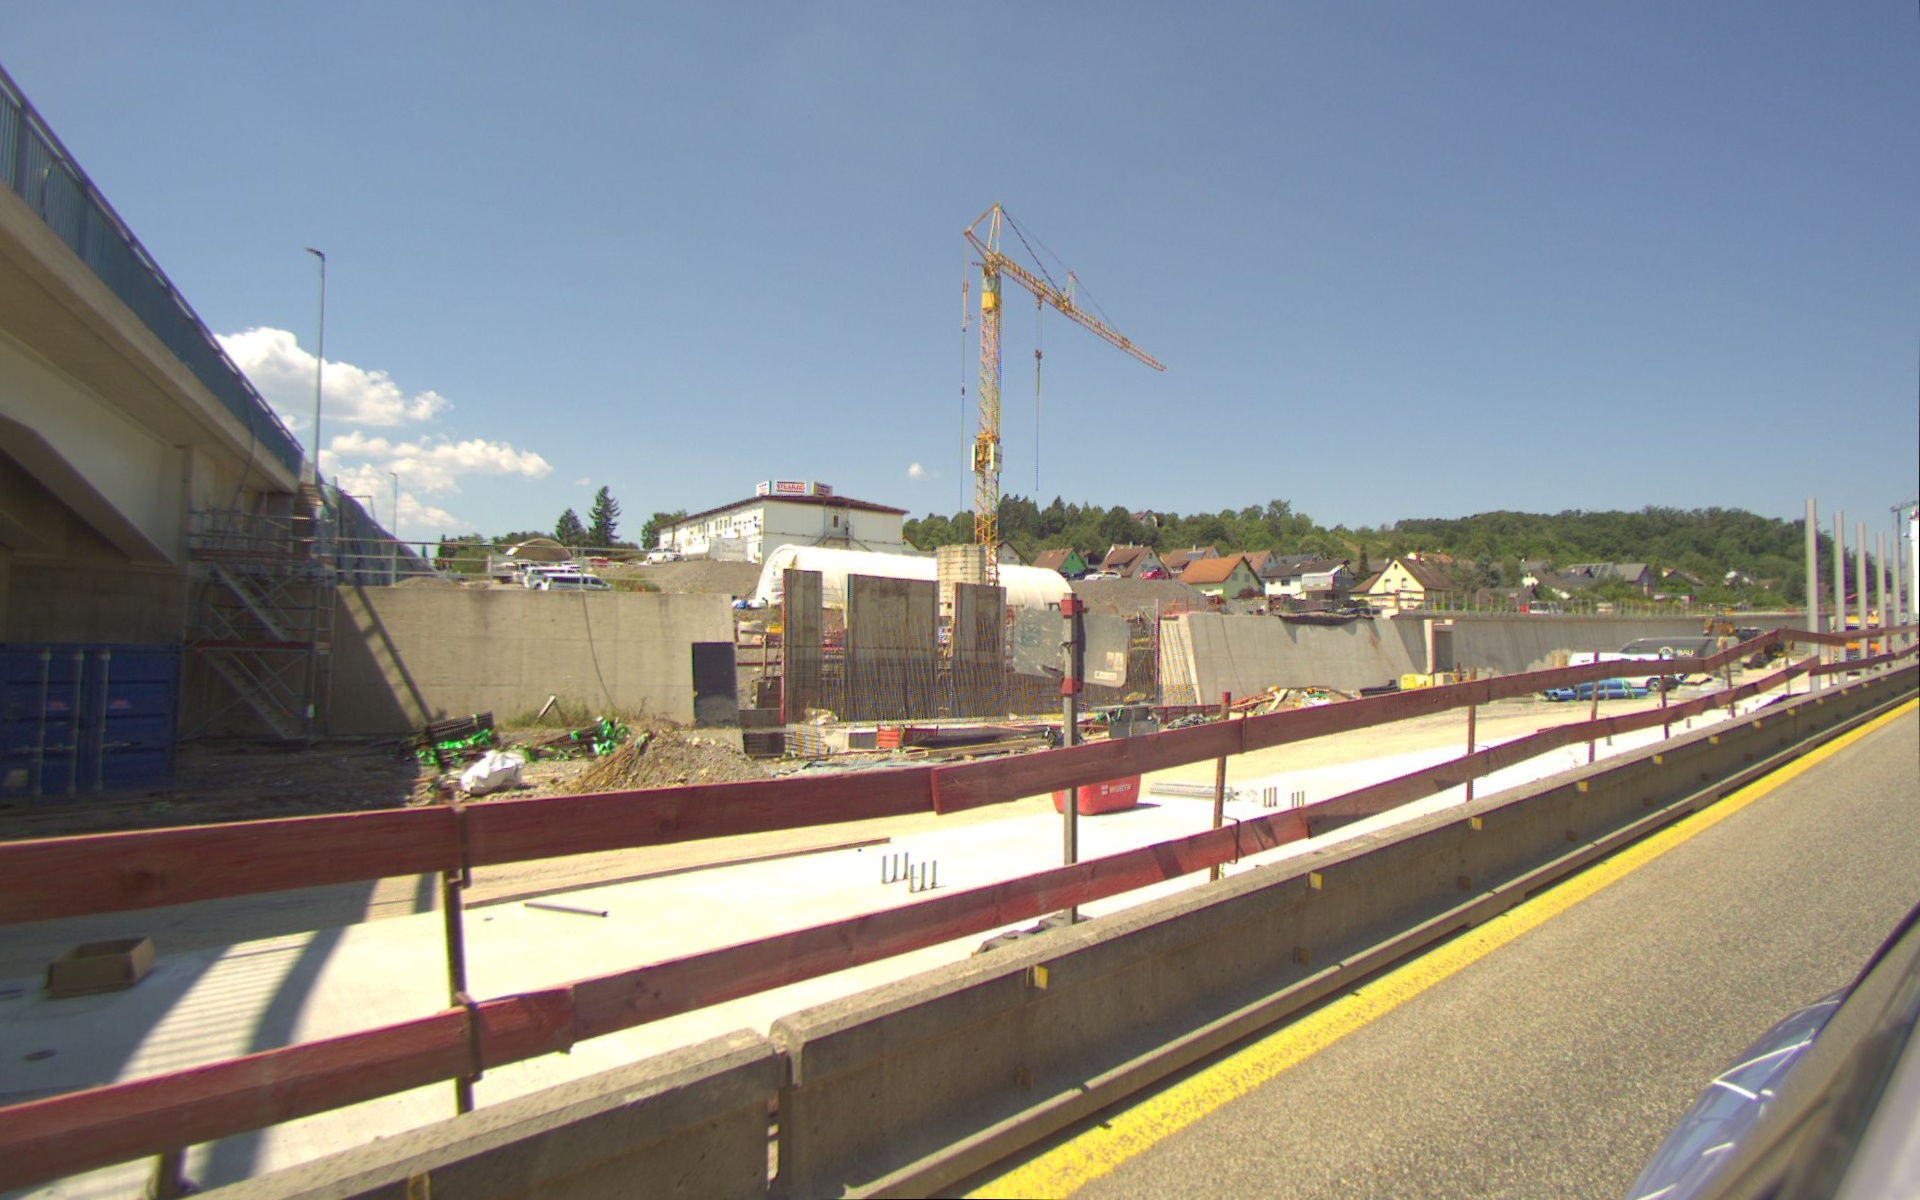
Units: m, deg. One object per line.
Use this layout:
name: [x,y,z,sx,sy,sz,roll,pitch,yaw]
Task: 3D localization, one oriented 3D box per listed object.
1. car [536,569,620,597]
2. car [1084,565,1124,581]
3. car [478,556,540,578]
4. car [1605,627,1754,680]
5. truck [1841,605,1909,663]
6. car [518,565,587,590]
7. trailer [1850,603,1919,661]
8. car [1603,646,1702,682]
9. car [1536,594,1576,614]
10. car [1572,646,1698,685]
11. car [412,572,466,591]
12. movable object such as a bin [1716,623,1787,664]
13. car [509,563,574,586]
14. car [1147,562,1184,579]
car: [-28.276,-1.245,74.958,5.467,1.984,1.999,-1,0,-36]
car: [14.899,-2.783,104.474,4.141,1.505,1.728,-1,0,-40]
car: [-41.864,-3.064,93.948,4.893,1.984,1.999,-1,0,-36]
car: [38.222,2.882,53.951,6.268,2.615,2.027,-4,-4,37]
truck: [58.431,2.094,64.599,5.341,3.447,2.503,-1,0,-40]
car: [-33.116,-1.853,82.266,4.893,1.984,1.999,-1,0,-36]
trailer: [63.431,2.023,68.859,12.668,3.394,2.445,-1,0,-40]
car: [35.322,3.259,51.663,1.665,1.708,3.860,0,-2,-45]
car: [52.084,0.340,88.388,4.527,1.623,1.656,-1,0,-41]
car: [32.985,3.168,49.591,1.689,1.792,4.797,1,-3,-40]
car: [-55.270,-2.000,107.435,4.893,1.984,1.999,-1,0,-36]
movable object such as a bin: [61.066,3.305,78.120,3.924,2.820,3.270,-1,0,-35]
car: [-36.834,-2.229,89.137,4.893,1.984,1.999,-1,0,-36]
car: [19.618,-2.795,96.640,3.543,1.505,1.544,-1,0,-40]
